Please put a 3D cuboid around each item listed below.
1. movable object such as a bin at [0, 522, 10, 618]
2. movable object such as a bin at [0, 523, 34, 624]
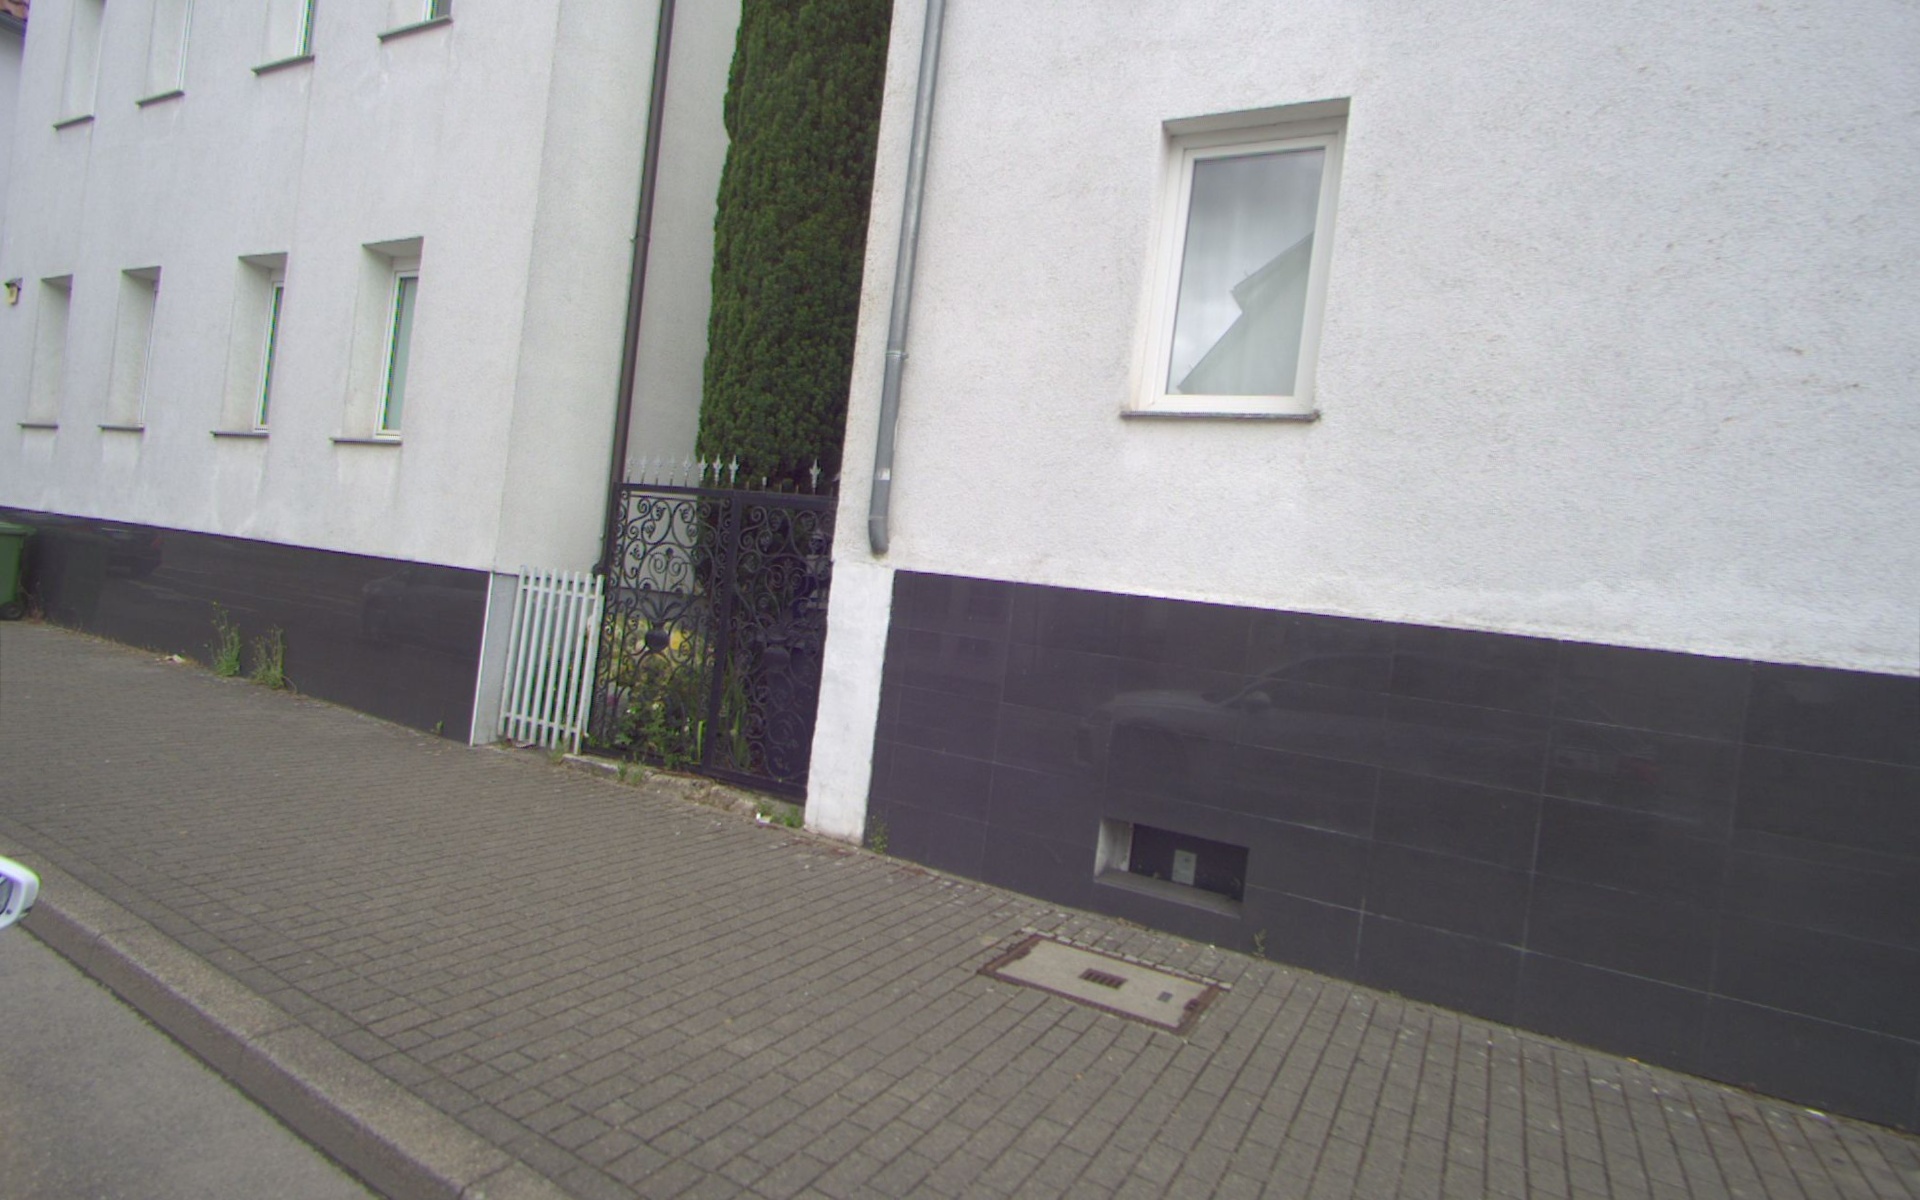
[{"bbox_3d":[-9.945,-0.330,10.028,0.479,0.953,0.540,7,3,30],"label":"movable object such as a bin"},{"bbox_3d":[-9.480,-0.274,9.786,0.479,0.953,0.540,7,3,30],"label":"movable object such as a bin"}]
